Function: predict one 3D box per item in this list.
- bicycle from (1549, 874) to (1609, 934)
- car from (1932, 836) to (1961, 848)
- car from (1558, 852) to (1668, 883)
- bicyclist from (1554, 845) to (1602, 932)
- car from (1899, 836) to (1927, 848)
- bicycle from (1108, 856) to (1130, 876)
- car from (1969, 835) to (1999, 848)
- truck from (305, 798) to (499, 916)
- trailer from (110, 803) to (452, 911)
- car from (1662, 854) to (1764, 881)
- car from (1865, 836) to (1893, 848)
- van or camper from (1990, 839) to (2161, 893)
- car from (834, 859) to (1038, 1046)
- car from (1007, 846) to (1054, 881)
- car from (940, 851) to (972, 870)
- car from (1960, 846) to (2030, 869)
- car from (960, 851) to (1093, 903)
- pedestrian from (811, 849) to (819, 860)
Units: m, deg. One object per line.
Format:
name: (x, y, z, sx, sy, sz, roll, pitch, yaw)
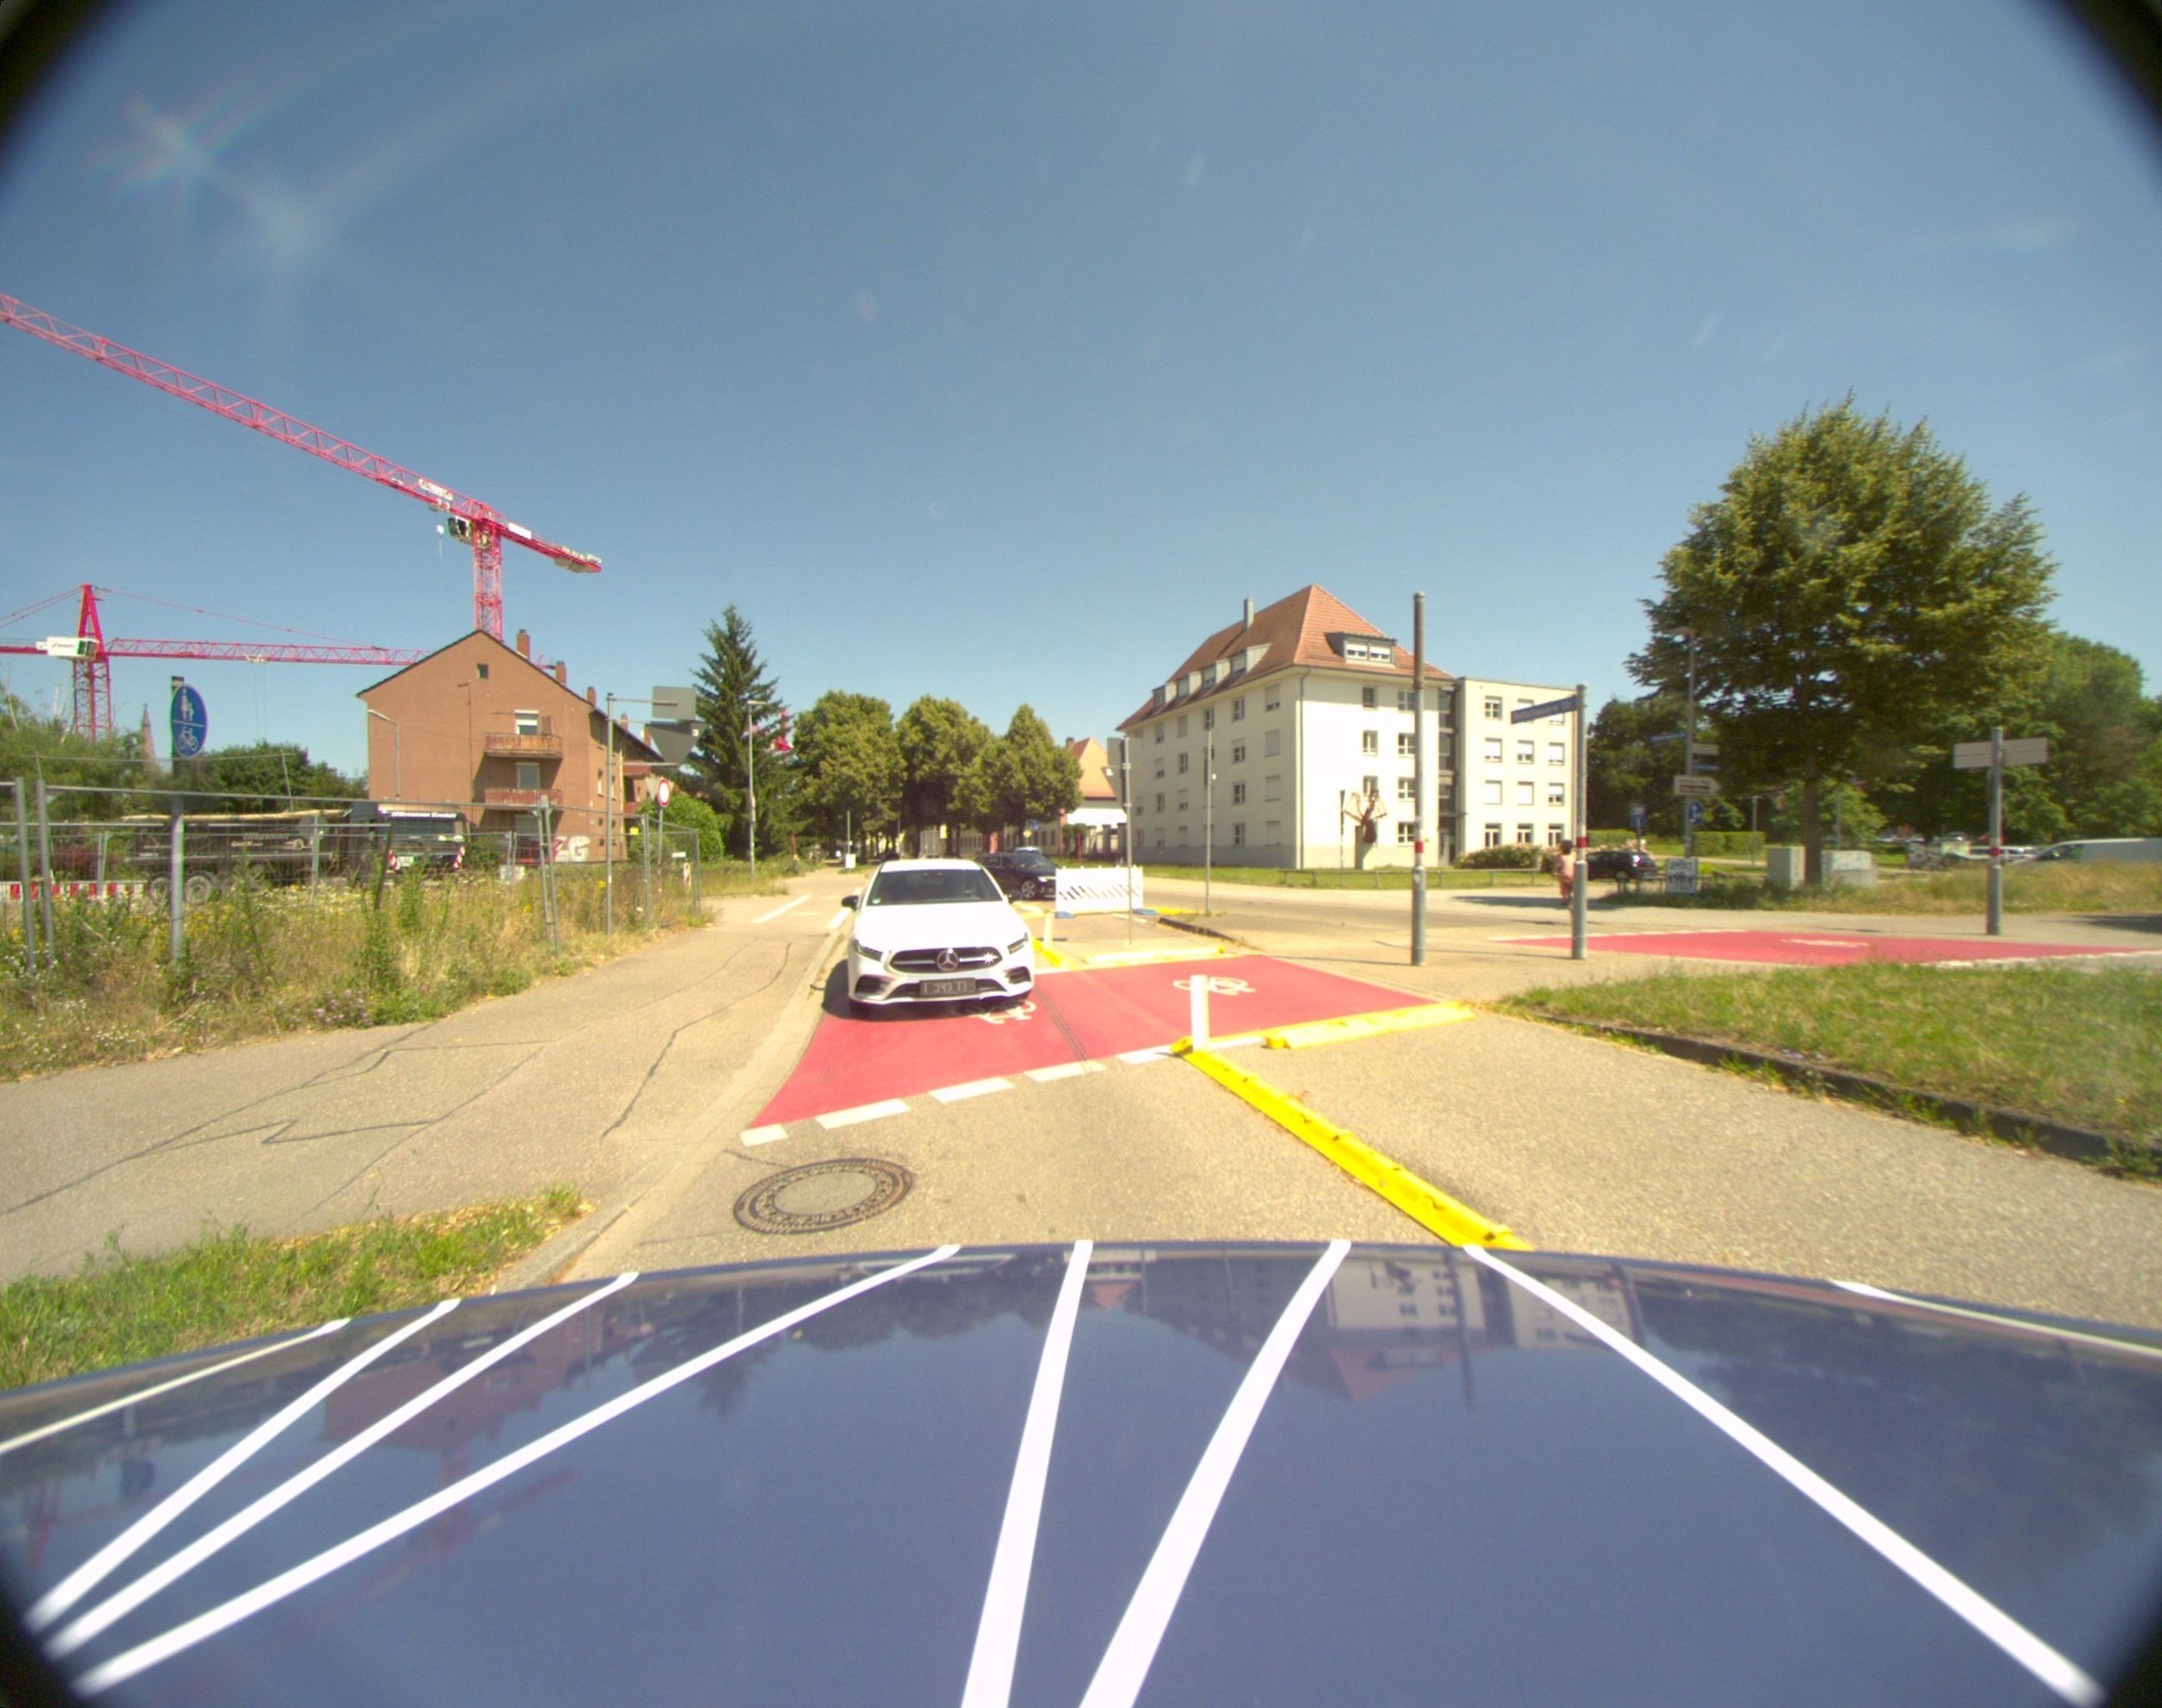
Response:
bicycle: (9.781, 0.948, 14.983, 0.438, 1.052, 2.091, 2, 0, 19)
car: (103.565, -1.464, 90.885, 3.031, 1.408, 1.476, -1, 1, -25)
car: (23.970, 0.573, 34.401, 1.661, 1.319, 3.801, -1, 1, -20)
bicyclist: (9.759, 0.663, 14.941, 0.645, 1.654, 0.711, 0, -1, 19)
car: (102.560, -1.502, 93.627, 3.031, 1.408, 1.476, -1, 1, -25)
bicycle: (2.191, 0.675, 43.954, 0.710, 1.018, 1.982, -3, 2, -14)
car: (104.696, -1.443, 88.095, 3.031, 1.408, 1.476, -1, 1, -25)
truck: (-22.453, 0.069, 25.165, 4.951, 3.512, 3.170, 0, 1, 28)
trailer: (-27.745, 0.099, 26.646, 8.983, 3.512, 3.165, 0, 1, 4)
car: (29.914, 0.605, 36.070, 1.358, 1.210, 3.507, -1, 1, -20)
car: (100.791, -1.503, 95.954, 3.031, 1.408, 1.476, -1, 1, -25)
van or camper: (37.208, 0.389, 27.431, 2.002, 1.846, 5.263, -1, 1, -21)
car: (-1.749, 0.866, 8.672, 1.782, 1.536, 3.957, 0, 1, -14)
car: (-2.807, 0.509, 41.332, 1.690, 1.759, 4.199, -2, 0, -16)
car: (-9.874, 0.478, 59.903, 1.645, 1.374, 3.882, -1, 1, -23)
car: (55.876, 0.201, 46.500, 1.084, 1.350, 2.526, -1, 1, -14)
car: (-1.858, 0.689, 24.506, 1.805, 1.443, 4.605, -3, 2, -41)
pedestrian: (-37.249, 0.052, 106.373, 1.025, 1.509, 0.681, -1, 1, -14)
